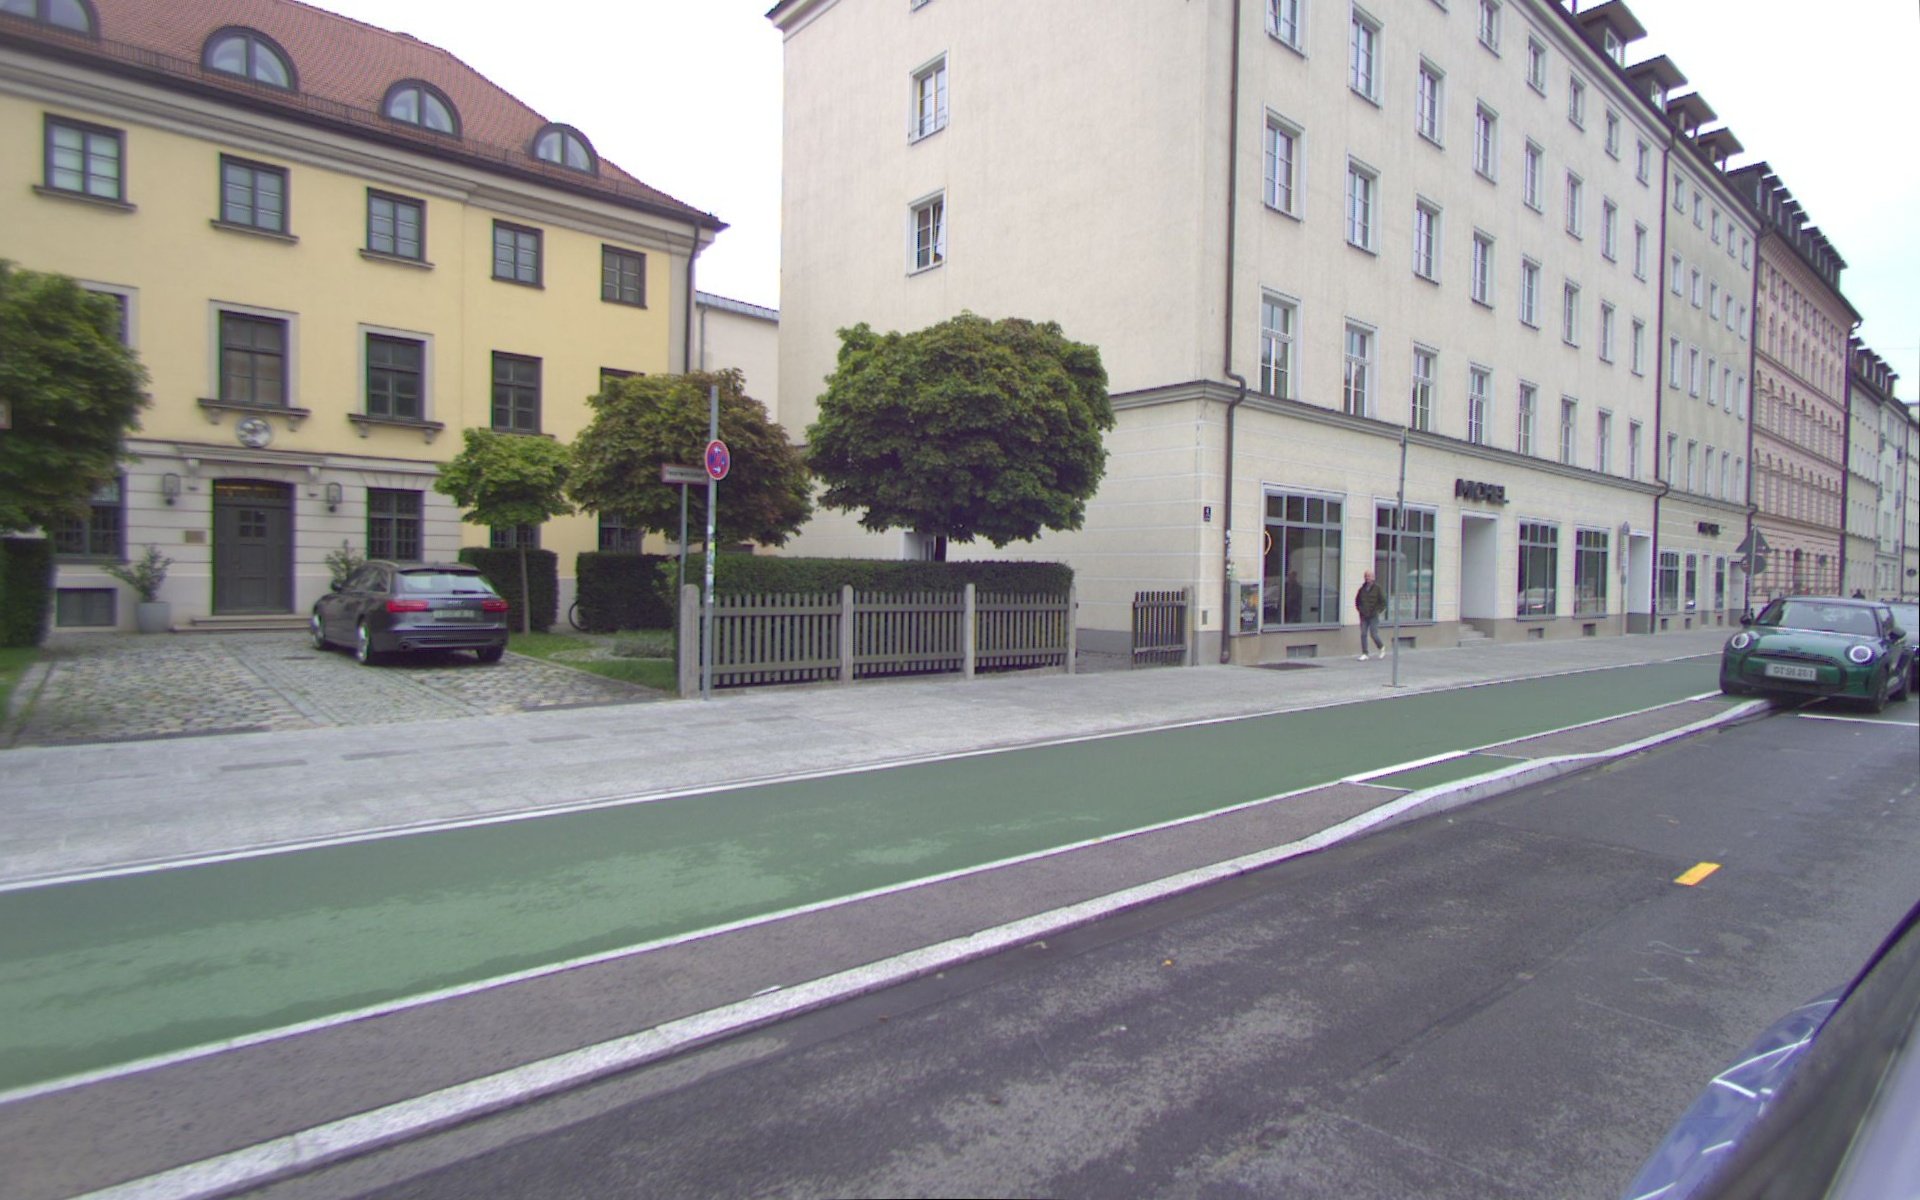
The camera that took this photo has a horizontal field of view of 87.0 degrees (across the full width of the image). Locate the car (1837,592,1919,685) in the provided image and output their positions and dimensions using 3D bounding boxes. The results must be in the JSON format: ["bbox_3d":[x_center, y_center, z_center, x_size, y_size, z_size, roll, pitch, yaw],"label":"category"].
[{"bbox_3d":[16.490,0.596,17.271,3.930,1.451,1.738,0,1,-41],"label":"car"}]

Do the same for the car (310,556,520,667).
[{"bbox_3d":[-8.353,0.080,15.314,1.824,1.435,4.300,0,2,-42],"label":"car"}]

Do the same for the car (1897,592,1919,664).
[{"bbox_3d":[21.200,0.566,21.307,3.930,1.451,1.738,0,1,-41],"label":"car"}]

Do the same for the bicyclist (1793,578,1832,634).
[{"bbox_3d":[24.448,0.173,29.027,0.843,1.572,0.723,0,0,-41],"label":"bicyclist"}]

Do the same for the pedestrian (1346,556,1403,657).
[{"bbox_3d":[7.970,0.112,19.476,0.811,1.897,0.655,0,2,-40],"label":"pedestrian"}]

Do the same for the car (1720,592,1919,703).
[{"bbox_3d":[12.335,0.563,14.315,3.930,1.337,1.738,0,1,-41],"label":"car"}]
